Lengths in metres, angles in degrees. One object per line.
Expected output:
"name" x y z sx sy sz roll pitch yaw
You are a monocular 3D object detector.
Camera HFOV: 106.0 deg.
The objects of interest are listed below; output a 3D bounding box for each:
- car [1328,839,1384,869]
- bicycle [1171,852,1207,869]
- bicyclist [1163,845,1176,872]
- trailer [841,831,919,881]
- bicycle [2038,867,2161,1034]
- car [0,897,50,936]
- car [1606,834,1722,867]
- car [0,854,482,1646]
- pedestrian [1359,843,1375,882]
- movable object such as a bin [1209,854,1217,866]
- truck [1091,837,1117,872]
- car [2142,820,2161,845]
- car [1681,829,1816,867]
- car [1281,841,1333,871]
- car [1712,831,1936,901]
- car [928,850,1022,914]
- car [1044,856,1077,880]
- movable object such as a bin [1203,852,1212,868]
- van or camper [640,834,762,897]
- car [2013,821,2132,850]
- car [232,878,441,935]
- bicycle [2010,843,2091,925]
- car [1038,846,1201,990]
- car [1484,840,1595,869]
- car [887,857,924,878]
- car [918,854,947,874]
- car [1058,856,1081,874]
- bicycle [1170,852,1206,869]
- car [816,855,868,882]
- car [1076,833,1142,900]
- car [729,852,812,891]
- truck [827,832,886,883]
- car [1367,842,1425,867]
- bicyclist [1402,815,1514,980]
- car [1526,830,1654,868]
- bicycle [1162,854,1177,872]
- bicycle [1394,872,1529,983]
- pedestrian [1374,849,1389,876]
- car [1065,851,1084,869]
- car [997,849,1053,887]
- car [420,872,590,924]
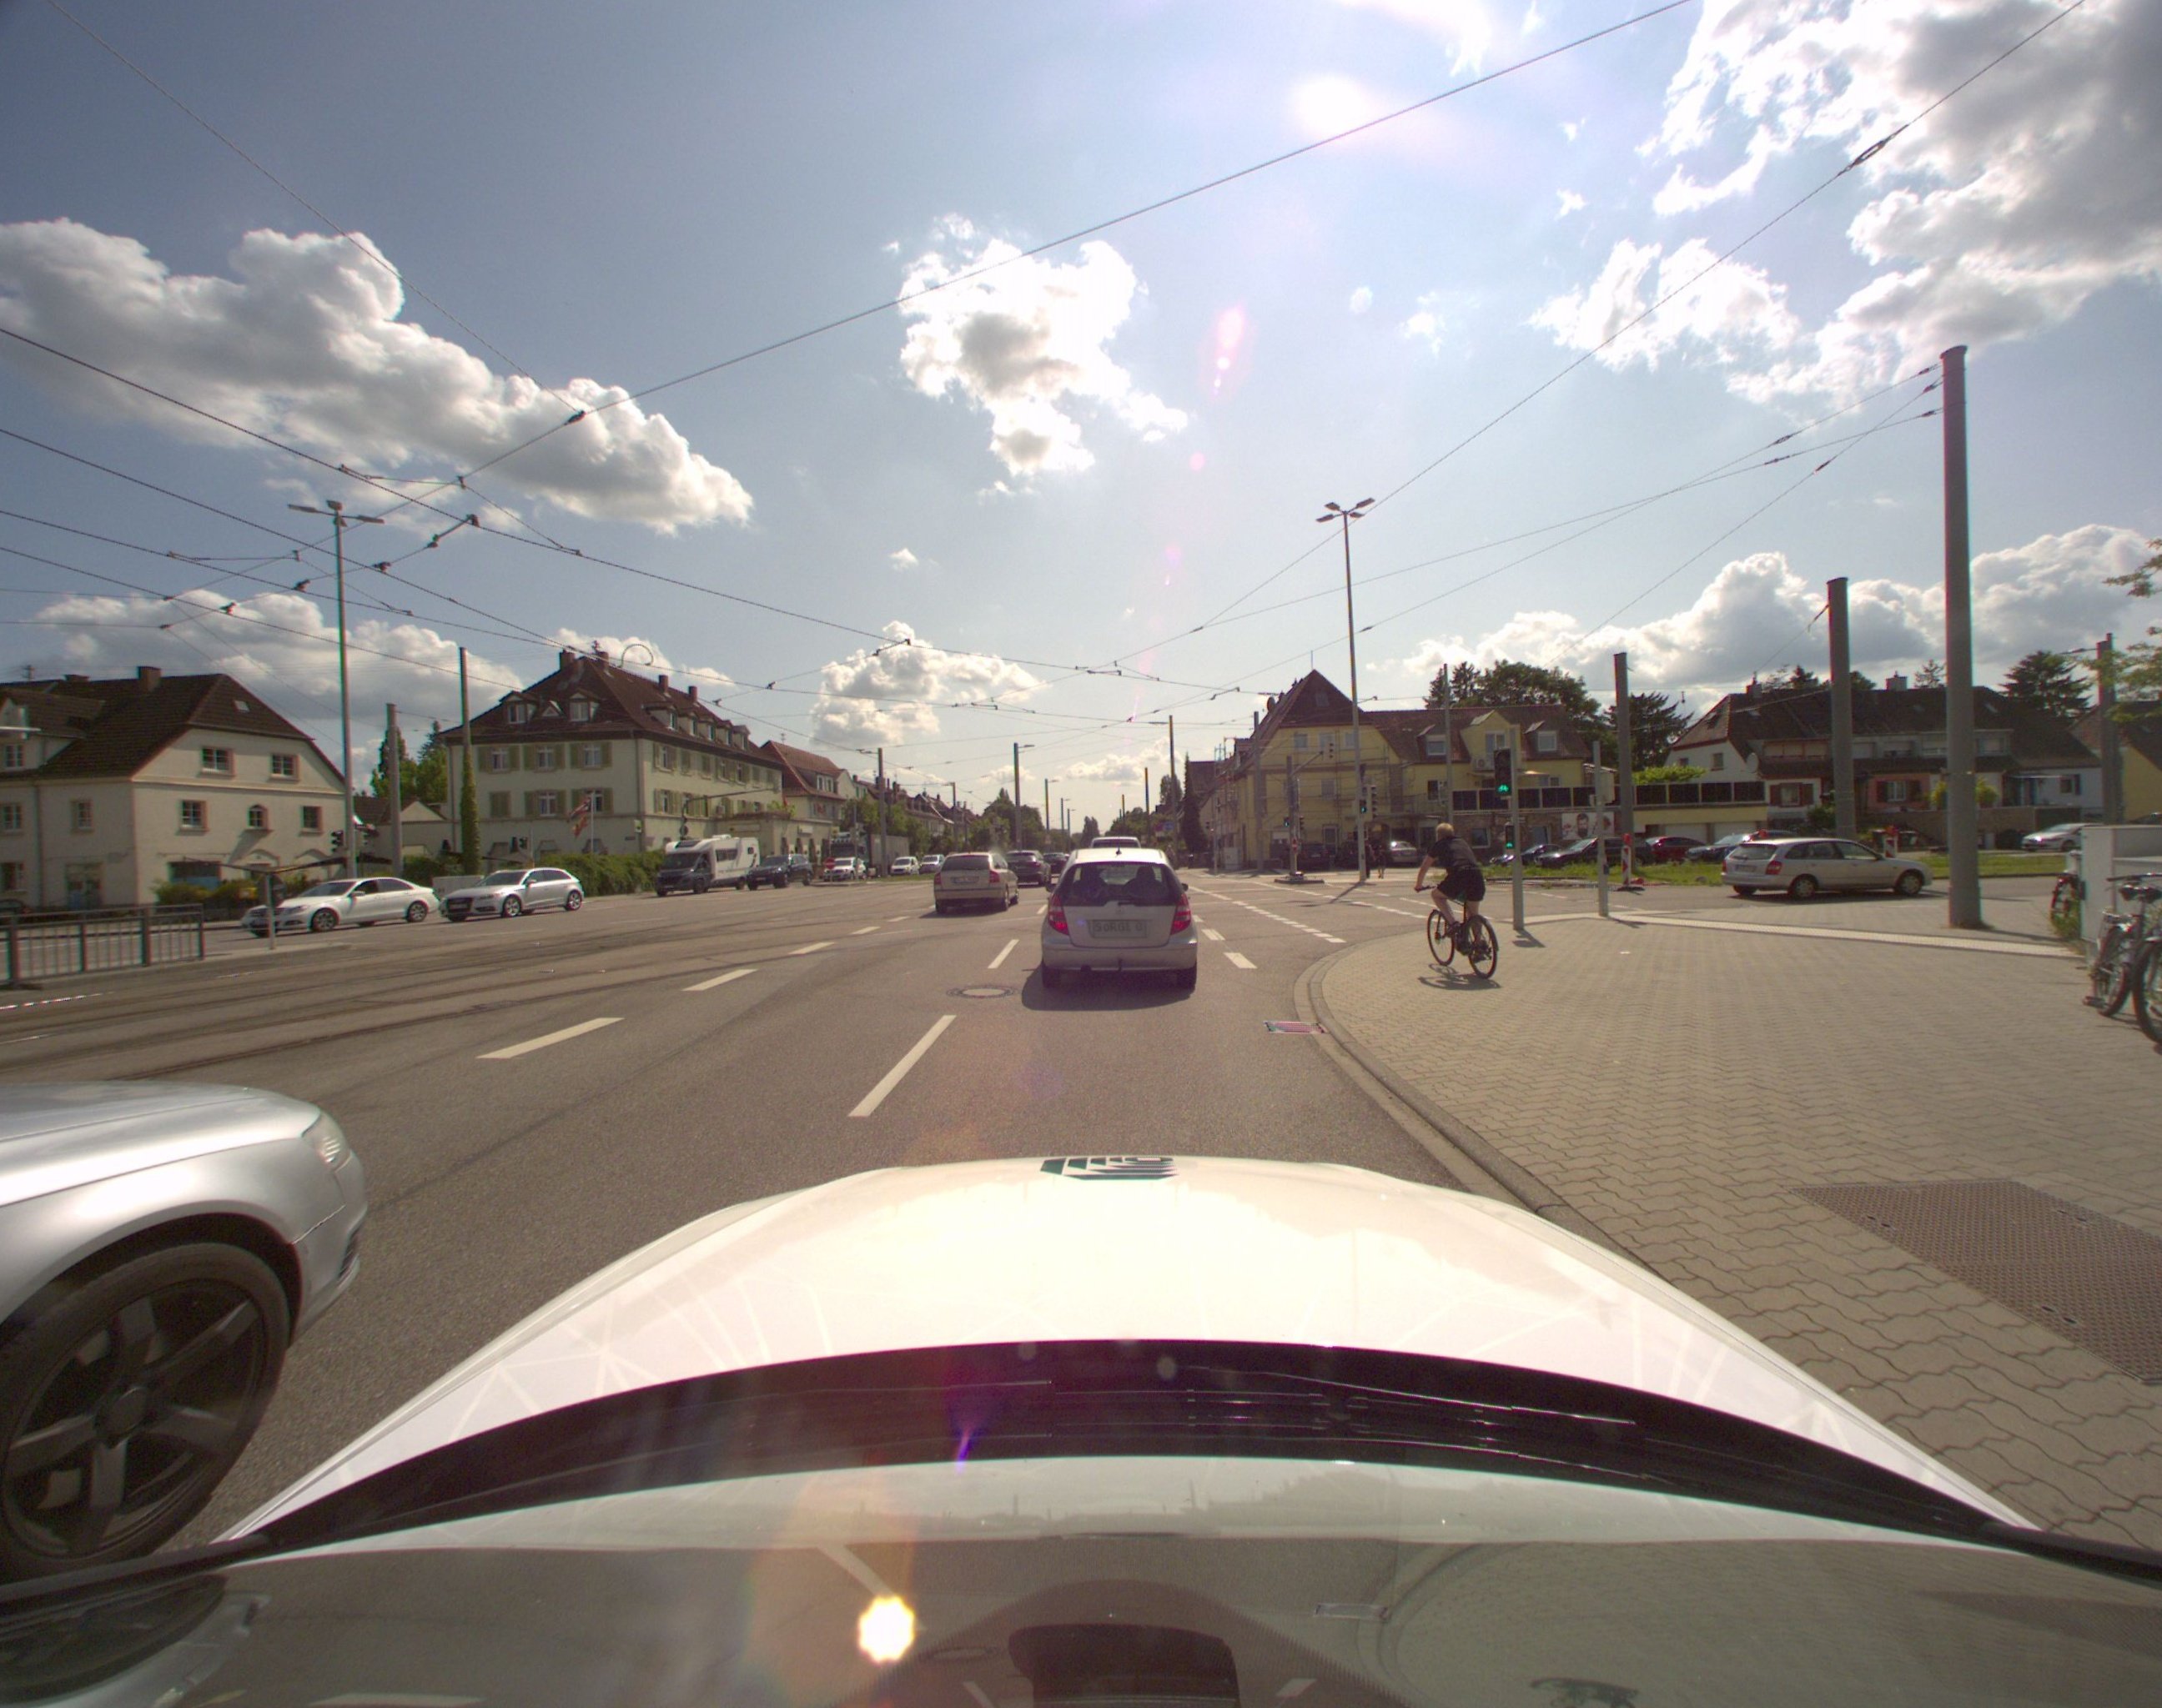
"car" 15.794 0.024 47.018 1.986 1.596 4.133 -1 -1 2
"bicycle" 8.348 0.502 62.962 2.652 1.105 0.786 -3 -1 1
"bicyclist" 5.577 0.283 51.471 0.649 1.738 0.982 0 -1 -5
"trailer" -17.596 0.068 72.582 2.587 3.821 12.851 -4 0 4
"bicycle" 7.280 0.611 5.714 0.457 1.018 1.767 -1 -1 41
"car" -50.941 2.899 38.210 4.238 1.667 1.944 -1 -1 20
"car" 27.574 -0.160 38.622 4.303 1.474 1.738 0 -1 -2
"car" -2.955 0.773 0.352 1.788 1.472 4.723 -2 0 1
"pedestrian" 12.131 0.354 34.596 0.544 1.643 0.402 -1 -1 6
"movable object such as a bin" 10.265 0.461 63.360 0.466 0.946 0.558 -2 -1 1
"truck" 1.717 0.067 63.179 1.846 2.552 5.854 0 -1 0
"car" 67.630 -1.352 49.038 1.732 1.474 4.320 0 -1 -6
"car" 28.113 -0.238 34.377 4.303 1.328 1.738 -3 -1 -2
"car" 12.886 0.133 46.656 1.986 1.596 4.133 -1 -1 2
"car" 17.712 0.242 19.519 3.997 1.403 1.733 -2 3 -5
"car" -2.598 0.643 20.865 1.724 1.449 4.125 0 0 2
"car" -1.208 0.813 48.994 1.846 1.388 4.513 0 -1 0
"movable object such as a bin" 8.962 0.455 57.615 0.509 1.105 0.855 -2 -1 2
"van or camper" -19.598 0.506 42.619 2.314 2.929 7.761 -2 0 3
"car" 52.577 -0.975 43.215 4.303 1.474 1.738 0 -1 -2
"car" -20.695 1.416 22.943 1.676 1.351 4.350 -1 -1 4
"bicycle" 14.089 0.413 11.828 1.577 1.138 0.378 0 -1 -27
"car" 0.405 0.663 10.683 1.724 1.517 4.016 0 0 0
"car" 21.610 0.034 38.514 4.303 1.308 1.738 0 -1 -2
"car" -14.851 1.103 69.056 1.787 1.637 4.475 -3 -1 4
"car" -14.583 0.997 80.125 1.788 1.815 4.714 -3 -1 1
"car" -0.906 0.892 66.699 1.846 1.388 3.918 0 -1 0
"bicycle" 8.339 0.517 63.690 2.716 1.120 0.691 -3 -1 1
"car" -15.711 0.938 53.759 1.986 1.552 4.180 -5 -1 2
"car" 0.760 0.354 23.506 1.724 1.762 4.016 0 -1 1
"car" -15.928 0.866 42.072 1.984 1.776 4.884 -4 0 4
"truck" -18.076 0.227 65.918 2.587 3.821 5.674 -4 0 4
"car" 18.160 0.037 47.096 1.860 1.351 4.133 -1 -1 2
"bicyclist" 4.390 0.482 9.569 0.824 1.793 1.086 -3 0 7
"car" 21.438 -0.199 34.381 4.303 1.328 1.738 -3 -1 -2
"bicycle" 5.571 0.552 51.465 0.649 1.117 1.585 0 -1 -5
"bicycle" 4.413 0.806 9.634 0.824 1.075 1.975 -3 0 7
"pedestrian" 12.757 0.344 34.573 0.486 1.136 0.389 0 -1 2
"car" -0.649 0.613 84.752 1.846 1.843 3.918 0 -1 0
"car" -2.236 0.552 33.654 1.910 1.477 4.563 0 0 1
"car" -17.000 1.259 24.353 1.986 1.351 4.180 -1 -1 2
